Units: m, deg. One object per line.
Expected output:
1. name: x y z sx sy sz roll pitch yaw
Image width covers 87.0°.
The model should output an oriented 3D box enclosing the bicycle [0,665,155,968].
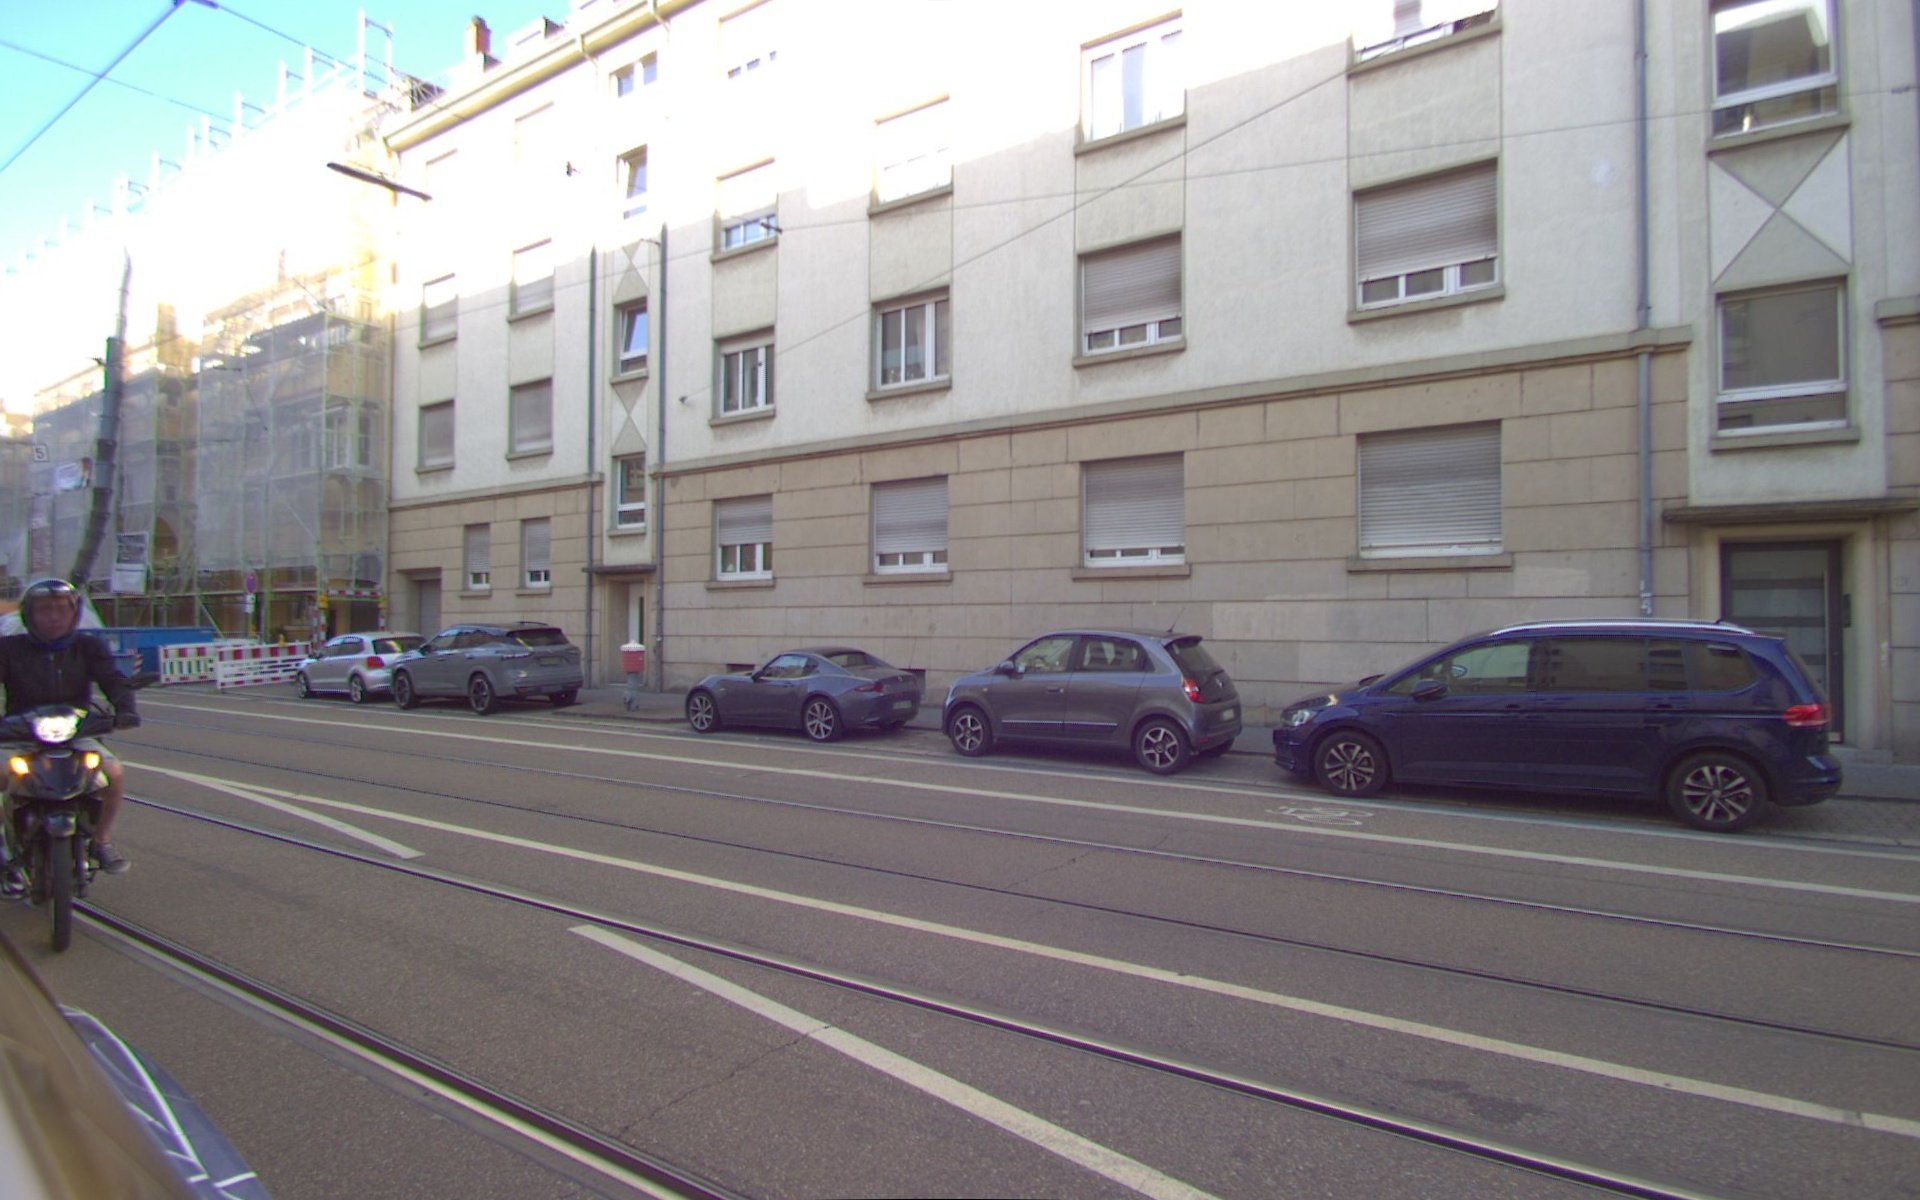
1. bicycle: -4.478 0.938 4.957 0.728 1.186 1.978 2 -3 -36

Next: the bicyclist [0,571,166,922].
1. bicyclist: -4.454 0.668 4.946 0.830 1.566 0.852 2 -3 -36

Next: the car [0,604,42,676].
1. car: -35.797 1.458 36.881 5.985 2.488 2.102 -1 -3 35

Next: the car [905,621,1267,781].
1. car: 1.429 1.064 12.118 3.990 1.581 1.685 -1 0 35

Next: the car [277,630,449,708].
1. car: -13.010 1.423 21.987 3.990 1.426 1.685 -1 1 35

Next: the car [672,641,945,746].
1. car: -2.250 1.270 14.694 3.774 1.225 1.686 -1 0 33

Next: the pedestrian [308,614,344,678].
1. pedestrian: -17.136 1.228 27.341 0.715 1.707 0.576 -1 -1 34

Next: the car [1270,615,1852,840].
1. car: 5.204 0.962 9.293 4.231 1.627 1.686 -1 0 33

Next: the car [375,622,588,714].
1. car: -9.176 1.237 19.289 4.395 1.580 1.685 -1 -3 35
